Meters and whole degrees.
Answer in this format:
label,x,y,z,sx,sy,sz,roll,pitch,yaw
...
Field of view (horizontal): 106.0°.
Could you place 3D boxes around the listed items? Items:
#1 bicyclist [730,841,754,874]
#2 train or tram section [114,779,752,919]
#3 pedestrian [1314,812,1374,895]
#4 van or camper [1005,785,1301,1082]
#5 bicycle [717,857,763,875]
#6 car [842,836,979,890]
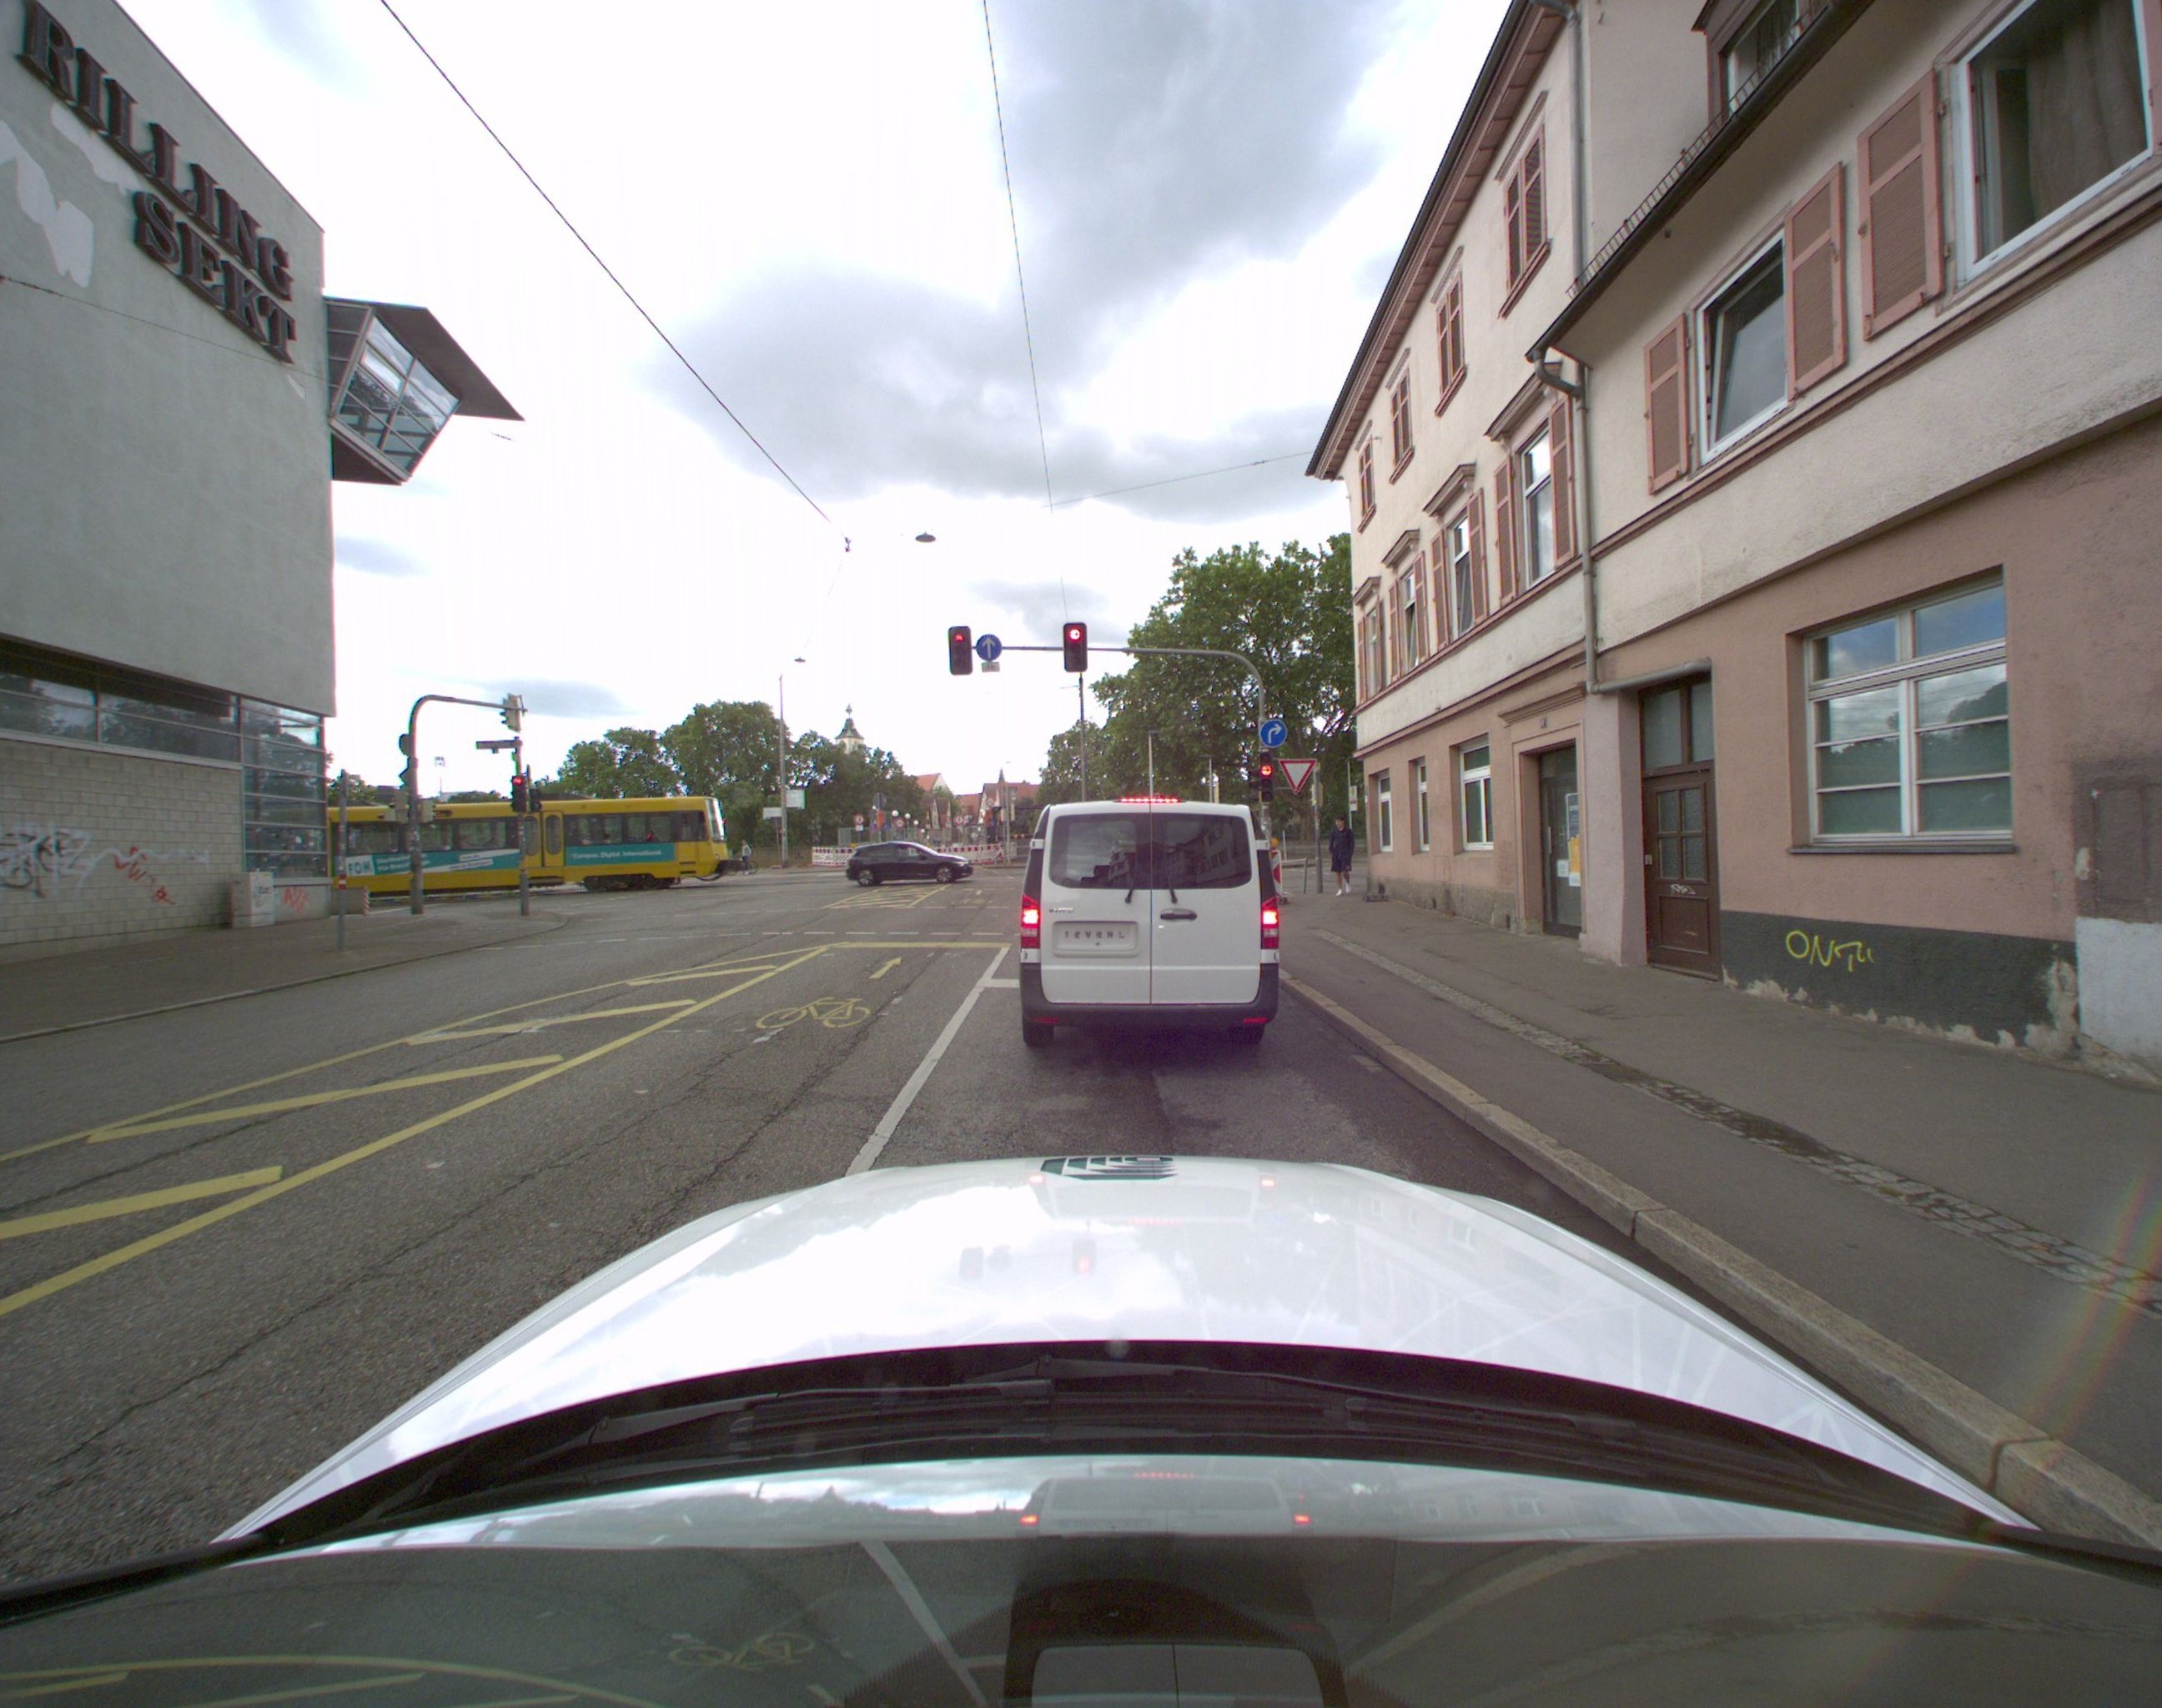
label,x,y,z,sx,sy,sz,roll,pitch,yaw
bicyclist,-18.123,0.187,43.559,1.009,1.743,0.746,-2,1,-37
train or tram section,-22.630,-0.390,30.242,18.784,4.002,3.253,-3,3,-12
pedestrian,6.189,-0.016,19.168,1.156,1.856,0.673,-3,1,-28
van or camper,0.436,0.447,7.541,1.932,1.924,4.439,0,2,-1
bicycle,-18.206,0.633,43.495,2.148,0.892,0.752,-2,2,-38
car,-5.773,0.272,27.962,4.262,1.574,1.870,-3,2,-3
